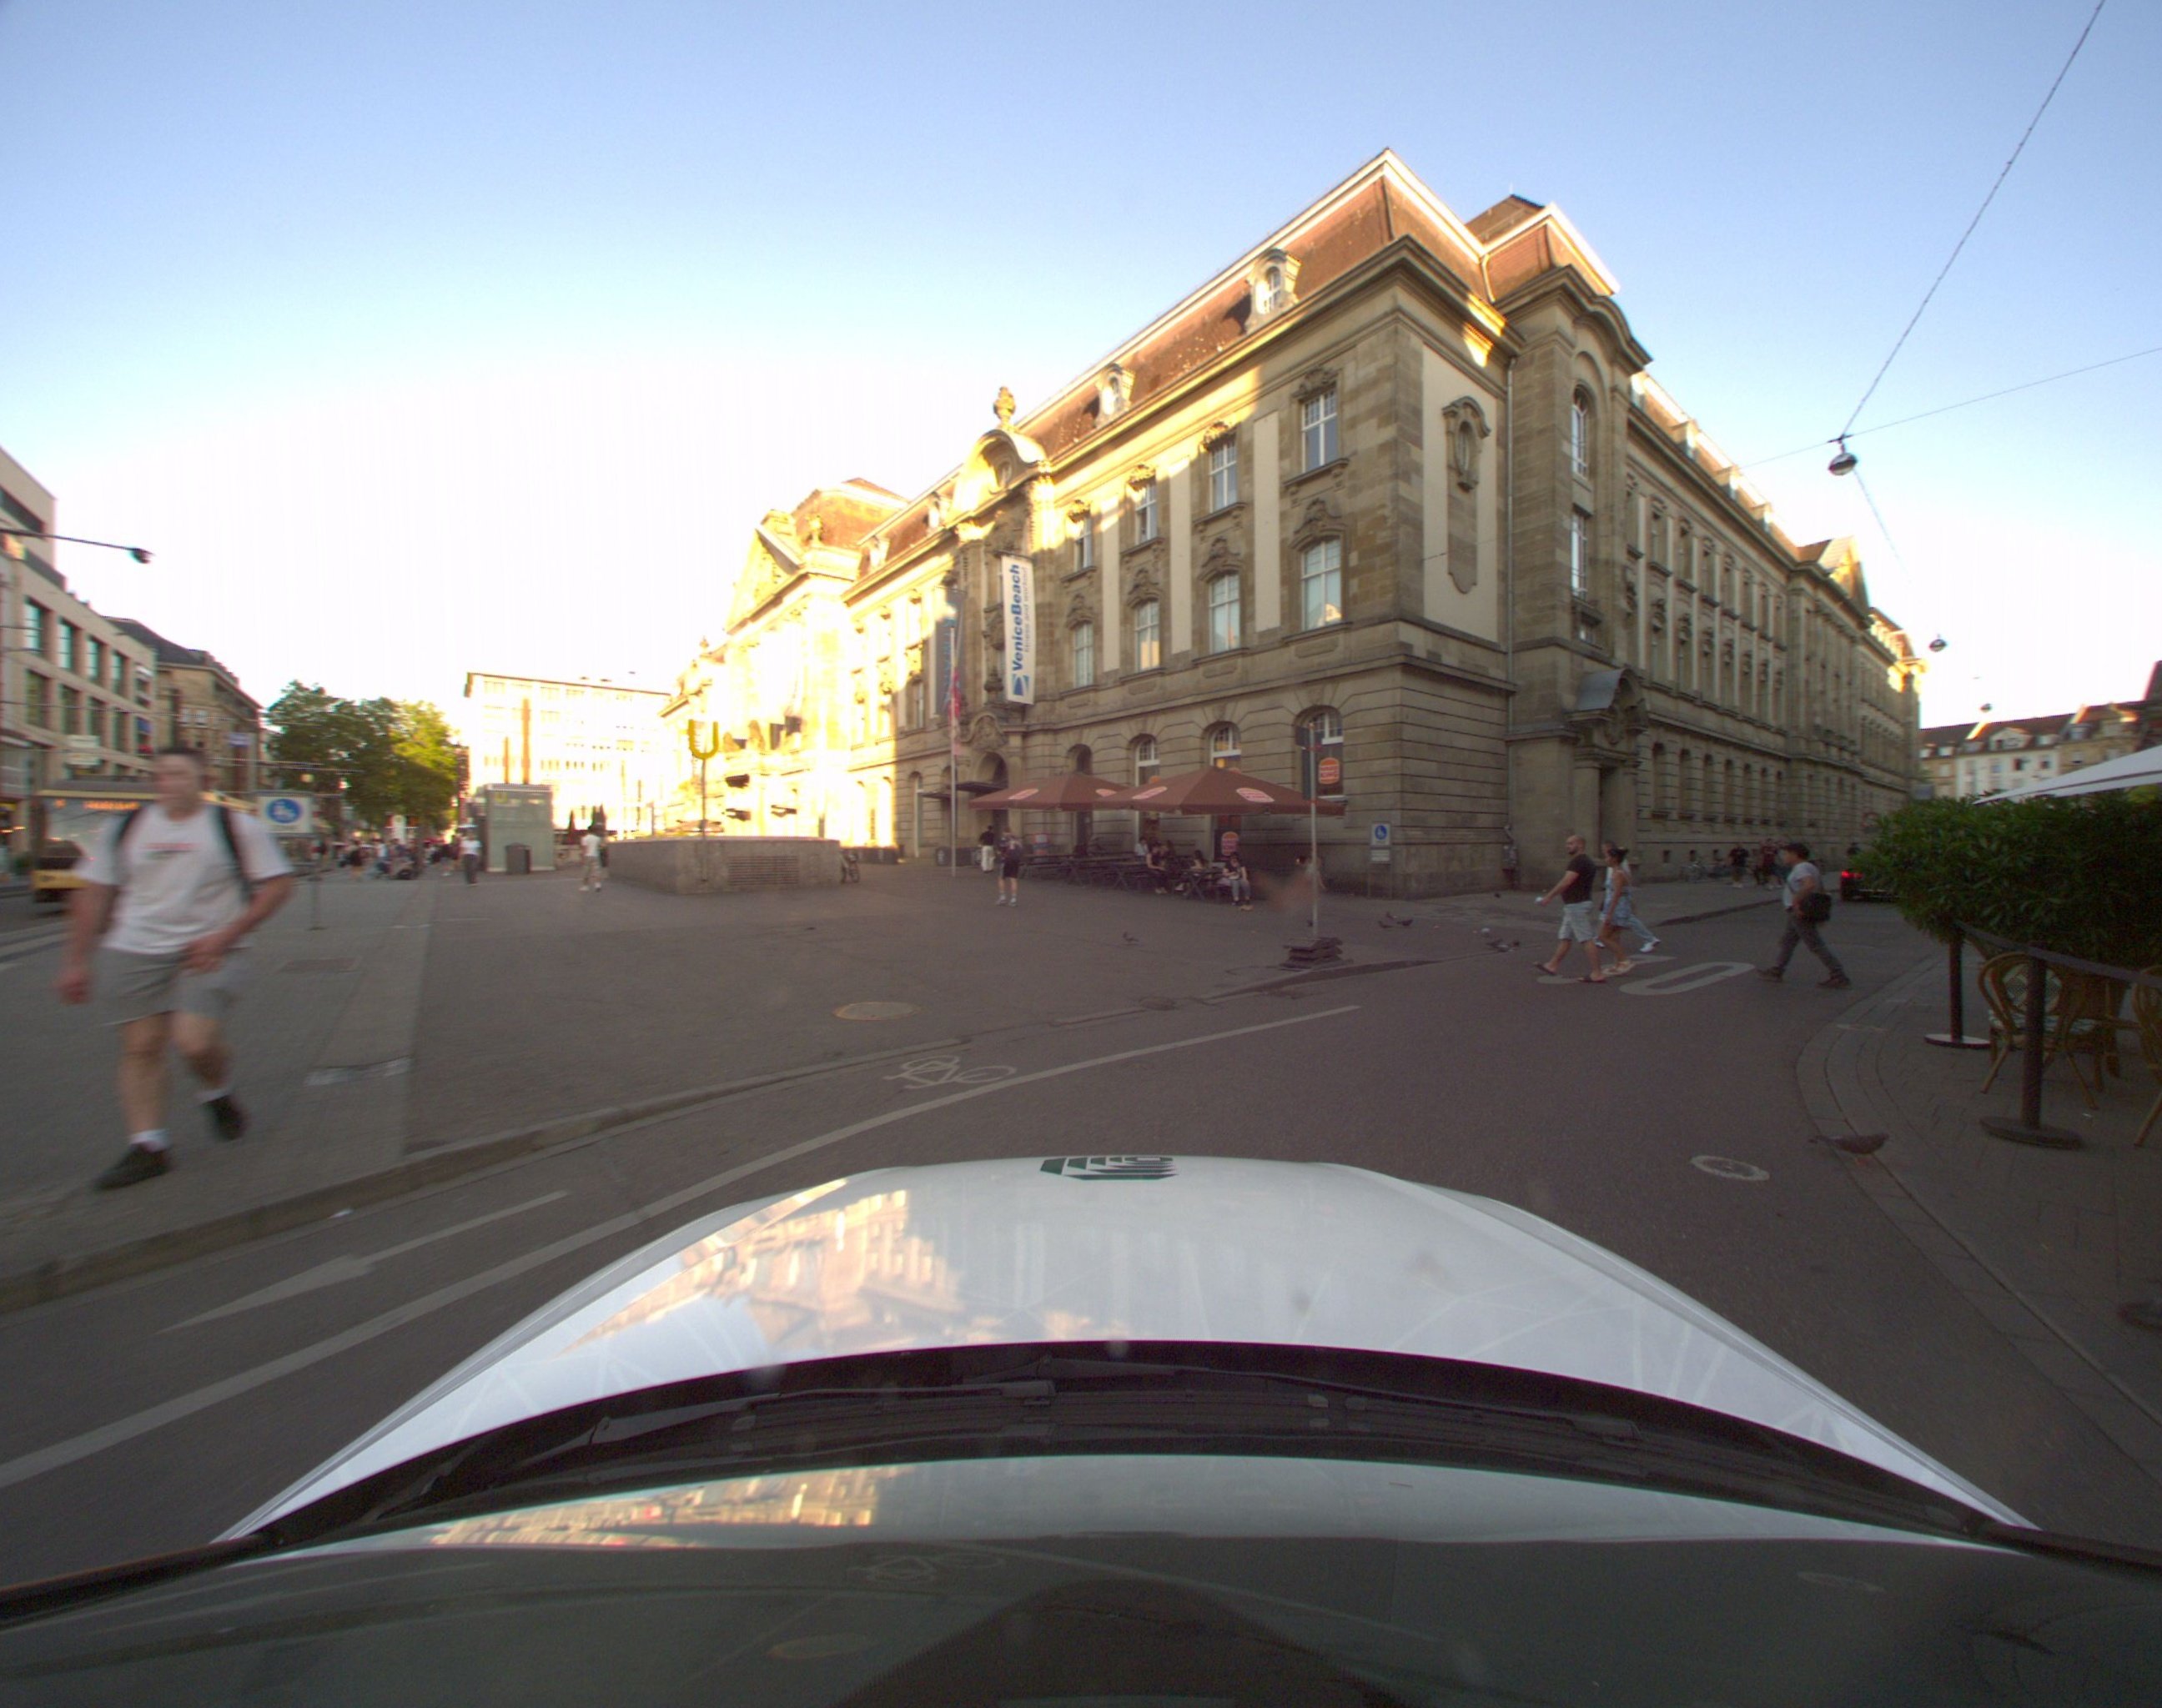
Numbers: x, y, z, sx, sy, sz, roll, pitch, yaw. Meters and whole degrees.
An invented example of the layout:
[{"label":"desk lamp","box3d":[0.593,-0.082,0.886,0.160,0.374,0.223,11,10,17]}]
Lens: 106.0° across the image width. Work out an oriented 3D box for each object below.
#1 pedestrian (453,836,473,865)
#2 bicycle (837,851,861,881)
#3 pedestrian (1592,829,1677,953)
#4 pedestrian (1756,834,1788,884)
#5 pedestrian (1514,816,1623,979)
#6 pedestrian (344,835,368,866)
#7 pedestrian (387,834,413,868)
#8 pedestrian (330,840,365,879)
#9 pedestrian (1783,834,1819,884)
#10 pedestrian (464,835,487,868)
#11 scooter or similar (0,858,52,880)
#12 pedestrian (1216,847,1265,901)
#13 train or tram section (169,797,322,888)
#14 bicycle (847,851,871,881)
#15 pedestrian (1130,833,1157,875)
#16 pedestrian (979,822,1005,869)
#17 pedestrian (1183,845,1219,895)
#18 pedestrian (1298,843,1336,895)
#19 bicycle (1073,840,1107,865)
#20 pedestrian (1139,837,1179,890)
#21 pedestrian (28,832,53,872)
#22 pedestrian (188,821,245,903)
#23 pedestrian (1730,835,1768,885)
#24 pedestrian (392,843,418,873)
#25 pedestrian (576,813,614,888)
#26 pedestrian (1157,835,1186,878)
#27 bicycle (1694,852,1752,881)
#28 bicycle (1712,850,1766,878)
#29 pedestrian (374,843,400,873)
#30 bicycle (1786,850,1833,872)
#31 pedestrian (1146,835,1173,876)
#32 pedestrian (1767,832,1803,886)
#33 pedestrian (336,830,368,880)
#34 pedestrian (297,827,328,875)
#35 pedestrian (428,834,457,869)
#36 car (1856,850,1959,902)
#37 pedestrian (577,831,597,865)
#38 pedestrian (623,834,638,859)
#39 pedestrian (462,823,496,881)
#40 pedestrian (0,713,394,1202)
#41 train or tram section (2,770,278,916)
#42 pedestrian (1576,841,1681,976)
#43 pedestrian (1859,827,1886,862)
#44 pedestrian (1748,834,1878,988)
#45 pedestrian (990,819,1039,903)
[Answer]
[{"label":"pedestrian","box3d":[-36.033,-0.187,47.473,0.796,1.661,0.763,0,1,-26]},{"label":"bicycle","box3d":[-6.977,0.355,24.461,0.318,0.867,0.989,-2,2,-39]},{"label":"pedestrian","box3d":[8.714,0.536,12.816,0.872,1.839,0.864,-1,4,-43]},{"label":"pedestrian","box3d":[25.305,0.167,29.828,0.725,1.751,0.683,0,3,-40]},{"label":"pedestrian","box3d":[5.847,0.496,9.781,0.810,1.839,0.864,2,0,-38]},{"label":"pedestrian","box3d":[-39.475,-0.191,44.342,0.771,1.661,0.788,0,1,-26]},{"label":"pedestrian","box3d":[-33.296,-0.156,39.826,0.796,1.661,0.763,0,1,-26]},{"label":"pedestrian","box3d":[-30.211,0.202,33.558,0.766,1.579,0.792,0,1,-8]},{"label":"pedestrian","box3d":[25.991,0.172,29.404,0.725,1.751,0.780,0,3,-40]},{"label":"pedestrian","box3d":[-31.054,-0.150,41.756,0.796,1.661,0.763,0,1,-26]},{"label":"scooter or similar","box3d":[-40.716,0.567,31.210,0.555,0.831,1.526,-1,0,1]},{"label":"pedestrian","box3d":[3.862,0.485,19.754,0.782,1.242,0.822,1,2,-24]},{"label":"train or tram section","box3d":[-36.656,-0.543,36.321,2.823,3.319,14.344,-1,1,-38]},{"label":"bicycle","box3d":[-6.719,0.356,24.666,0.318,0.867,0.989,-2,2,-39]},{"label":"pedestrian","box3d":[2.012,-0.001,26.286,0.597,1.308,0.575,0,3,-43]},{"label":"pedestrian","box3d":[-3.090,-0.301,28.186,0.847,1.565,0.847,0,2,-10]},{"label":"pedestrian","box3d":[3.095,0.411,21.070,0.618,1.226,0.695,1,2,-24]},{"label":"pedestrian","box3d":[6.258,0.381,21.633,0.663,1.308,0.770,0,4,-13]},{"label":"bicycle","box3d":[0.345,-0.068,30.074,1.329,0.894,0.405,-2,2,-42]},{"label":"pedestrian","box3d":[2.100,0.250,21.888,0.808,1.382,0.647,1,2,-27]},{"label":"pedestrian","box3d":[-46.191,-0.084,36.160,0.606,1.727,0.600,-1,0,-45]},{"label":"pedestrian","box3d":[-18.678,0.167,17.600,0.700,1.725,0.725,-1,0,33]},{"label":"pedestrian","box3d":[23.719,0.200,28.934,0.980,1.674,0.791,0,4,-41]},{"label":"pedestrian","box3d":[-27.985,0.173,33.721,0.799,1.221,0.760,0,1,-42]},{"label":"pedestrian","box3d":[-13.400,-0.102,22.475,0.773,2.013,0.911,0,0,-22]},{"label":"pedestrian","box3d":[2.835,0.079,25.449,0.612,1.308,0.601,0,3,-43]},{"label":"bicycle","box3d":[24.944,0.485,31.669,0.489,1.041,1.668,0,2,-32]},{"label":"bicycle","box3d":[27.053,0.404,33.523,1.663,1.041,0.490,2,2,35]},{"label":"pedestrian","box3d":[-28.951,0.168,33.975,0.799,1.221,0.760,0,1,-42]},{"label":"bicycle","box3d":[36.574,0.350,40.912,0.490,1.041,1.666,0,2,-39]},{"label":"pedestrian","box3d":[2.579,0.032,26.633,0.597,1.308,0.575,0,3,-40]},{"label":"pedestrian","box3d":[24.364,0.167,28.175,0.980,1.811,0.692,0,3,-41]},{"label":"pedestrian","box3d":[-27.141,0.036,30.307,0.809,1.823,0.740,0,1,38]},{"label":"pedestrian","box3d":[-29.539,-0.113,31.313,0.809,1.823,0.740,0,1,38]},{"label":"pedestrian","box3d":[-30.483,-0.141,38.877,0.787,1.661,0.772,0,1,11]},{"label":"car","box3d":[24.575,0.608,24.174,4.072,1.409,1.755,0,-1,-39]},{"label":"pedestrian","box3d":[-27.188,-0.338,44.828,0.776,1.823,0.843,0,1,-24]},{"label":"pedestrian","box3d":[-33.144,-0.580,59.939,0.779,1.824,0.840,-1,1,-41]},{"label":"pedestrian","box3d":[-19.534,-0.070,26.430,0.780,1.823,0.929,-2,2,-41]},{"label":"pedestrian","box3d":[-3.985,0.393,3.755,1.019,1.863,1.033,0,0,-27]},{"label":"train or tram section","box3d":[-27.831,-0.351,25.044,2.823,3.319,14.344,-1,1,-38]},{"label":"pedestrian","box3d":[6.861,0.645,10.214,0.810,1.581,0.864,1,0,-38]},{"label":"pedestrian","box3d":[40.128,-0.483,41.300,0.814,1.751,0.797,0,3,-40]},{"label":"pedestrian","box3d":[8.288,0.610,9.251,0.733,1.646,0.866,1,-1,-21]},{"label":"pedestrian","box3d":[-1.495,0.141,18.172,0.814,1.823,0.797,-1,2,-34]}]
